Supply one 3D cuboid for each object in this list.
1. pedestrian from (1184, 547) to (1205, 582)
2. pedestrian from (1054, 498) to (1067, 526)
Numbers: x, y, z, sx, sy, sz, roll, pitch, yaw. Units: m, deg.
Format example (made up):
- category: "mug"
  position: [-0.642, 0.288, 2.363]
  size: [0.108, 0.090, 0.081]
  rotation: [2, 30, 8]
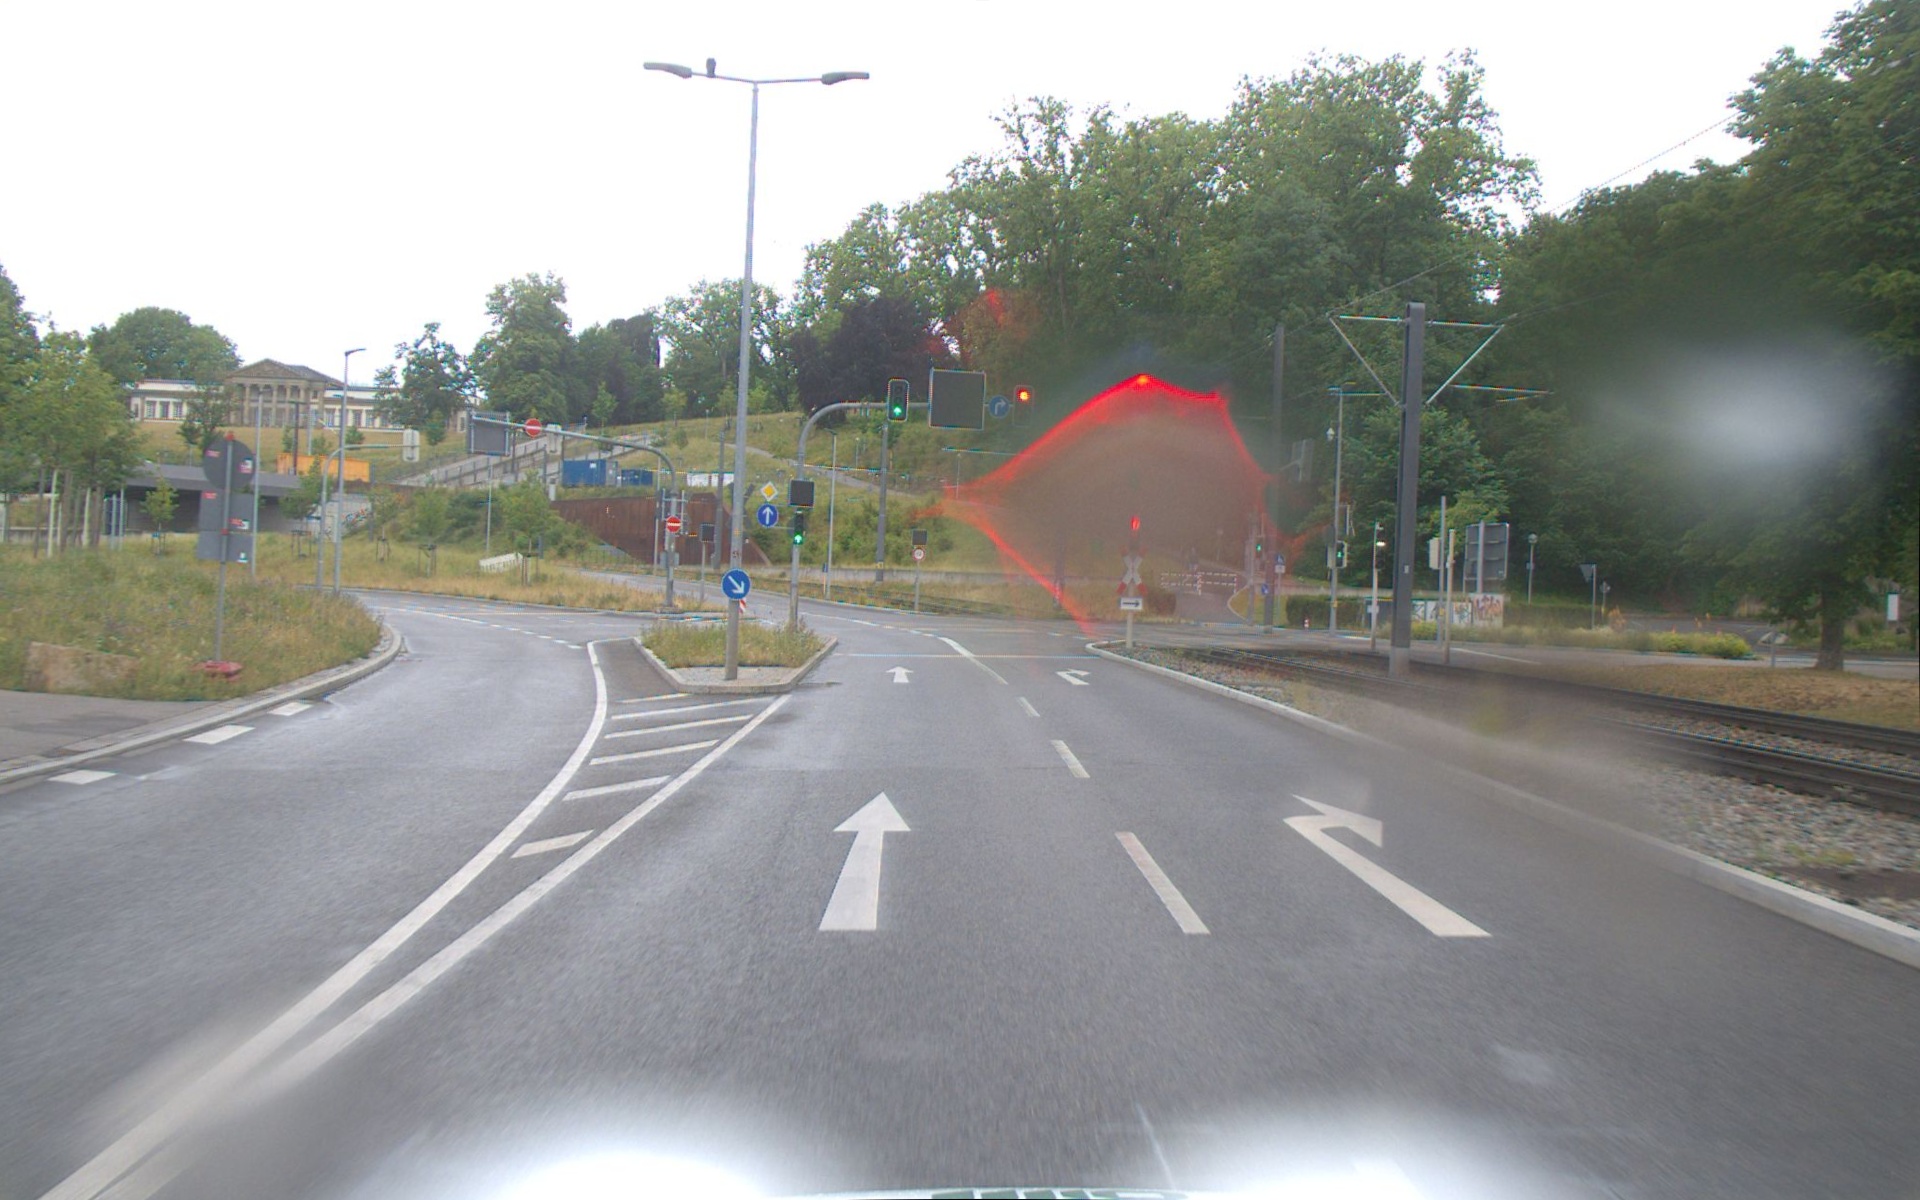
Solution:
- category: "pedestrian"
  position: [12.621, -1.910, 88.975]
  size: [0.937, 1.812, 1.123]
  rotation: [4, 1, 11]
- category: "pedestrian"
  position: [7.311, -6.393, 120.108]
  size: [0.775, 2.047, 0.654]
  rotation: [-2, 6, -16]
